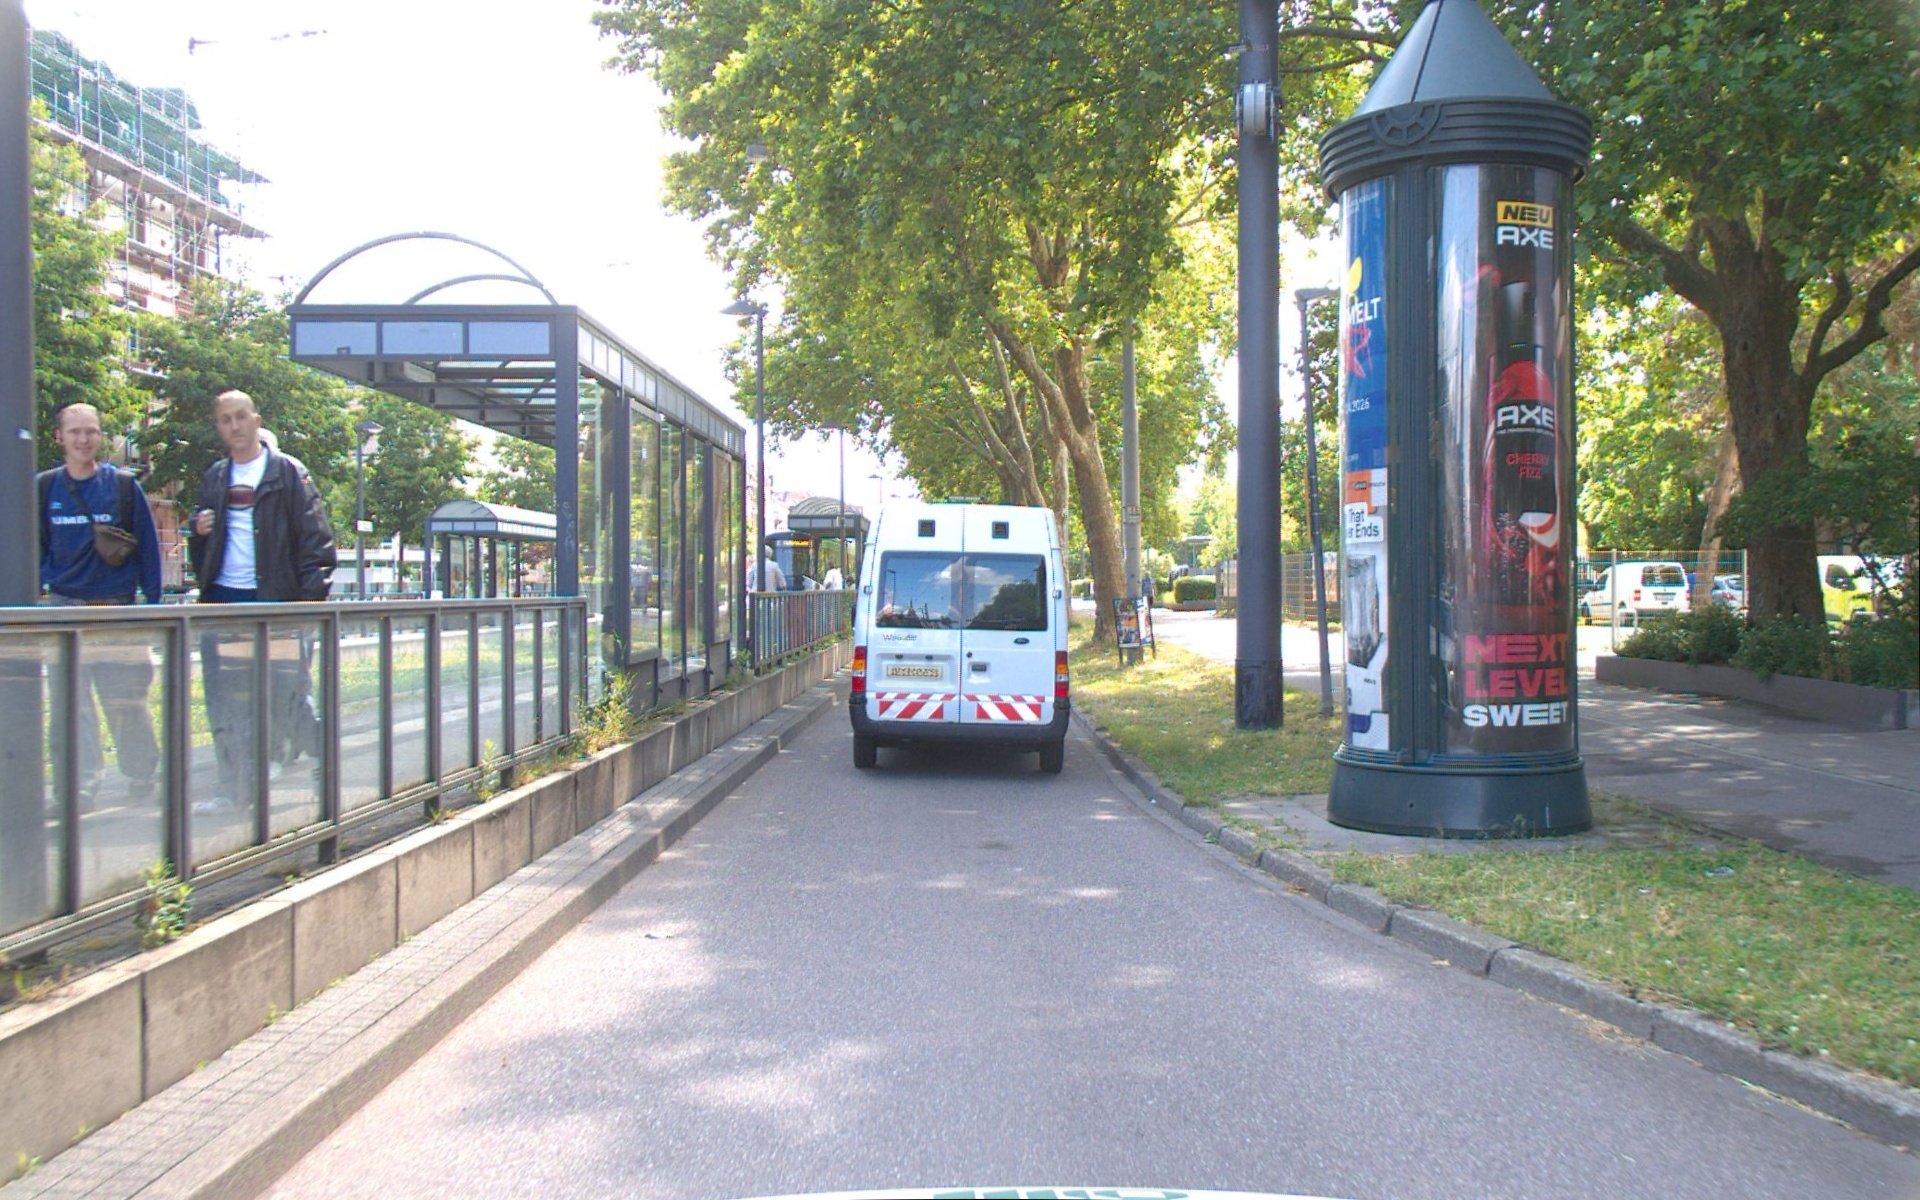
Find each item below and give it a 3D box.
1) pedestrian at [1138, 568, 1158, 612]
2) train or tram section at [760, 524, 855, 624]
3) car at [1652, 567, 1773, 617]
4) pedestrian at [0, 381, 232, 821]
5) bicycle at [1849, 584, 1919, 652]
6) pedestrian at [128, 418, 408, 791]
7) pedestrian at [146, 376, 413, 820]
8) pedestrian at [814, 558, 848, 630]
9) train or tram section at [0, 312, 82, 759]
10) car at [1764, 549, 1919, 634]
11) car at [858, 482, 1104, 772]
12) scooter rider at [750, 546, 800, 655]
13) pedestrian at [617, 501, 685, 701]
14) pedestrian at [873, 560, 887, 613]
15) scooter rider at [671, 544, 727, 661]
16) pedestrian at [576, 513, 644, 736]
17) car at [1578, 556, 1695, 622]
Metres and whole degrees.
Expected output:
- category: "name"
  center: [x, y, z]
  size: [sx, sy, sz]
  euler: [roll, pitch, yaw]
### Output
- category: "pedestrian"
  center: [7.068, -0.385, 62.206]
  size: [0.679, 1.654, 0.637]
  euler: [-1, 0, -1]
- category: "train or tram section"
  center: [-6.047, -1.021, 67.497]
  size: [2.668, 3.646, 13.016]
  euler: [0, 1, 0]
- category: "car"
  center: [22.341, -0.246, 49.253]
  size: [1.770, 1.427, 4.047]
  euler: [0, 1, 0]
- category: "pedestrian"
  center: [-3.887, -0.002, 7.461]
  size: [0.697, 1.832, 1.132]
  euler: [-1, 0, -1]
- category: "bicycle"
  center: [15.582, 0.283, 27.520]
  size: [0.505, 1.083, 1.725]
  euler: [-1, 1, -6]
- category: "pedestrian"
  center: [-3.661, 0.015, 8.904]
  size: [0.868, 1.832, 1.494]
  euler: [-1, 0, -1]
- category: "pedestrian"
  center: [-3.104, -0.014, 7.646]
  size: [0.794, 1.905, 1.031]
  euler: [-1, 0, -1]
- category: "pedestrian"
  center: [-2.802, -0.128, 35.939]
  size: [0.662, 1.542, 0.596]
  euler: [-1, 0, -1]
- category: "train or tram section"
  center: [-9.167, -0.471, 8.218]
  size: [2.668, 3.646, 13.016]
  euler: [0, 1, 0]
- category: "car"
  center: [20.130, -0.209, 37.154]
  size: [1.701, 1.786, 4.770]
  euler: [0, 1, -2]
- category: "car"
  center: [0.155, 0.183, 16.026]
  size: [2.005, 2.373, 4.714]
  euler: [-1, 1, -1]
- category: "scooter rider"
  center: [-2.772, 0.007, 24.836]
  size: [0.641, 1.598, 0.901]
  euler: [-1, 0, -1]
- category: "pedestrian"
  center: [-2.633, 0.004, 14.144]
  size: [0.461, 1.670, 0.537]
  euler: [-1, 0, -1]
- category: "pedestrian"
  center: [-2.466, -0.403, 50.865]
  size: [0.377, 1.619, 0.439]
  euler: [-1, 0, -1]
- category: "scooter rider"
  center: [-3.716, 0.030, 23.613]
  size: [0.641, 1.642, 0.901]
  euler: [-1, 0, -1]
- category: "pedestrian"
  center: [-3.113, 0.211, 14.687]
  size: [0.464, 1.933, 0.533]
  euler: [-1, 0, -24]
- category: "car"
  center: [19.882, -0.338, 48.790]
  size: [1.769, 1.846, 4.340]
  euler: [0, 1, 2]
